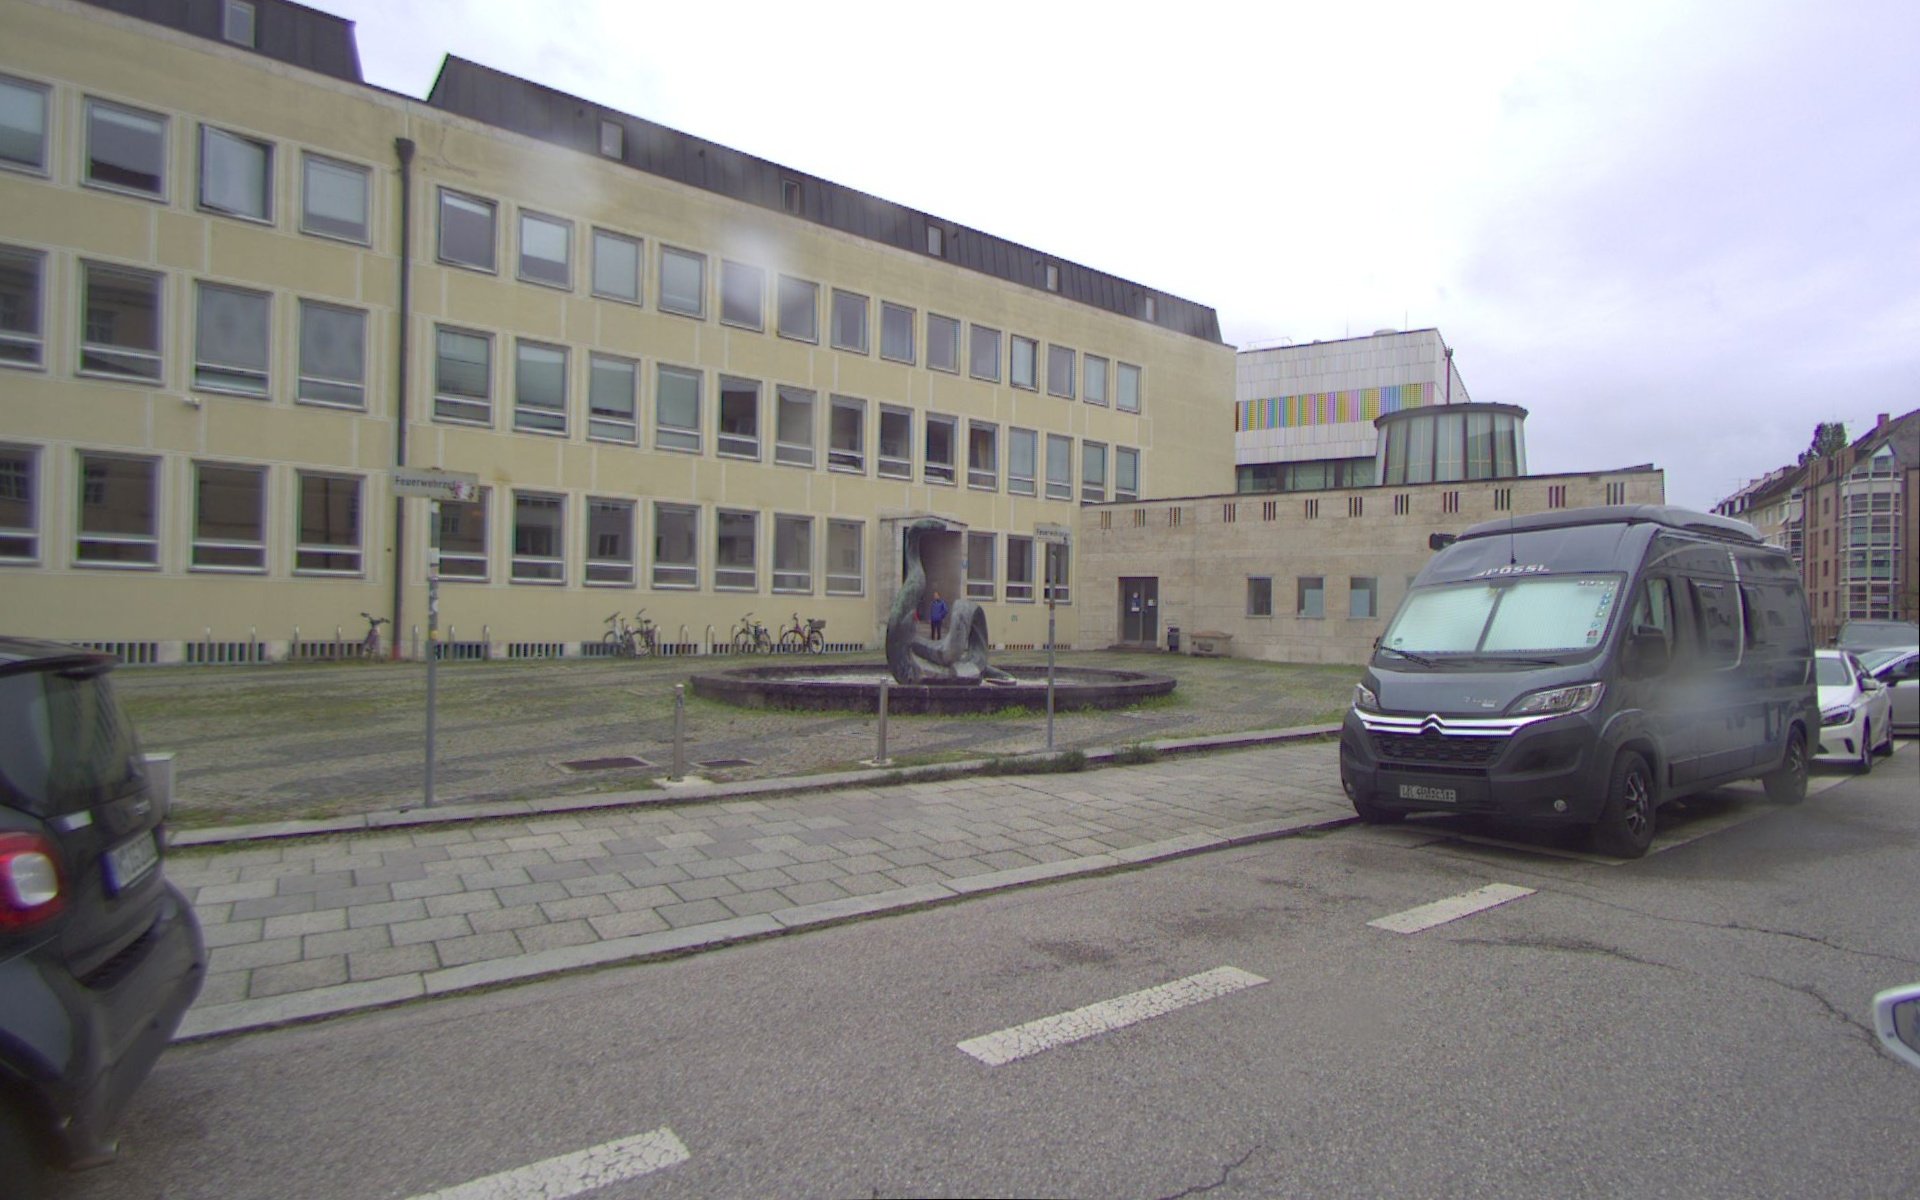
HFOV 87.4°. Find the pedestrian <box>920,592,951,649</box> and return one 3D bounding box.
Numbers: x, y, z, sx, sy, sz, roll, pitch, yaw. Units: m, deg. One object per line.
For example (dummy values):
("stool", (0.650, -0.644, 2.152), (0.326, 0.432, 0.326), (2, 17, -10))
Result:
("pedestrian", (-0.787, 0.646, 32.157), (0.642, 1.767, 0.707), (2, 1, -42))

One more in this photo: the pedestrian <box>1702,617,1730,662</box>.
("pedestrian", (30.951, 1.613, 41.104), (0.785, 1.763, 0.816), (3, 1, 42))

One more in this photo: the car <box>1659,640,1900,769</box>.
("car", (10.755, 1.260, 13.082), (4.112, 1.405, 1.811), (2, -5, -43))

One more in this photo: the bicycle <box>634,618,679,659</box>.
("bicycle", (-7.902, 0.977, 26.133), (0.527, 0.953, 1.865), (2, 1, -35))

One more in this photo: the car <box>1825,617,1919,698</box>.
("car", (22.795, 1.365, 24.851), (1.970, 1.795, 4.793), (0, -1, 39))

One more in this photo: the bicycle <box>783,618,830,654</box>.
("bicycle", (-4.443, 1.027, 28.971), (0.434, 0.929, 1.885), (2, 1, -39))

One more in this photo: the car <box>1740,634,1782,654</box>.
("car", (74.079, 4.053, 92.968), (1.800, 1.623, 4.264), (2, 0, 22))

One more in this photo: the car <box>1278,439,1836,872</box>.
("car", (5.519, 0.447, 8.815), (6.156, 2.608, 2.128), (2, -3, -38))

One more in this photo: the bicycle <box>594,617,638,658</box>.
("bicycle", (-8.788, 0.943, 25.623), (0.434, 0.929, 1.885), (2, 1, -39))

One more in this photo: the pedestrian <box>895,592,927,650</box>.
("pedestrian", (-1.541, 0.660, 31.588), (0.642, 1.767, 0.707), (2, 1, -42))

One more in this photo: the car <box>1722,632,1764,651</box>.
("car", (75.995, 4.034, 97.563), (1.932, 1.623, 4.670), (2, 0, 22))

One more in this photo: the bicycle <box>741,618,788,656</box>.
("bicycle", (-5.430, 1.012, 27.800), (0.434, 0.929, 1.885), (2, 1, -39))

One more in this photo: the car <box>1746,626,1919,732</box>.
("car", (15.549, 1.311, 16.386), (3.903, 1.550, 1.676), (2, 0, 16))

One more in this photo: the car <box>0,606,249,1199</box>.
("car", (-3.540, 0.753, 2.335), (2.833, 1.479, 1.660), (2, -4, -29))

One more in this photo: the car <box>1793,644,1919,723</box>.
("car", (18.143, 1.506, 18.471), (3.926, 1.391, 1.751), (-1, -3, 13))

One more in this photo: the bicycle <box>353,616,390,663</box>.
("bicycle", (-13.176, 0.864, 22.467), (0.434, 0.929, 1.885), (2, 1, -39))

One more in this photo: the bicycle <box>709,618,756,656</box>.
("bicycle", (-6.308, 1.012, 27.782), (0.434, 0.929, 1.885), (2, 1, -39))
